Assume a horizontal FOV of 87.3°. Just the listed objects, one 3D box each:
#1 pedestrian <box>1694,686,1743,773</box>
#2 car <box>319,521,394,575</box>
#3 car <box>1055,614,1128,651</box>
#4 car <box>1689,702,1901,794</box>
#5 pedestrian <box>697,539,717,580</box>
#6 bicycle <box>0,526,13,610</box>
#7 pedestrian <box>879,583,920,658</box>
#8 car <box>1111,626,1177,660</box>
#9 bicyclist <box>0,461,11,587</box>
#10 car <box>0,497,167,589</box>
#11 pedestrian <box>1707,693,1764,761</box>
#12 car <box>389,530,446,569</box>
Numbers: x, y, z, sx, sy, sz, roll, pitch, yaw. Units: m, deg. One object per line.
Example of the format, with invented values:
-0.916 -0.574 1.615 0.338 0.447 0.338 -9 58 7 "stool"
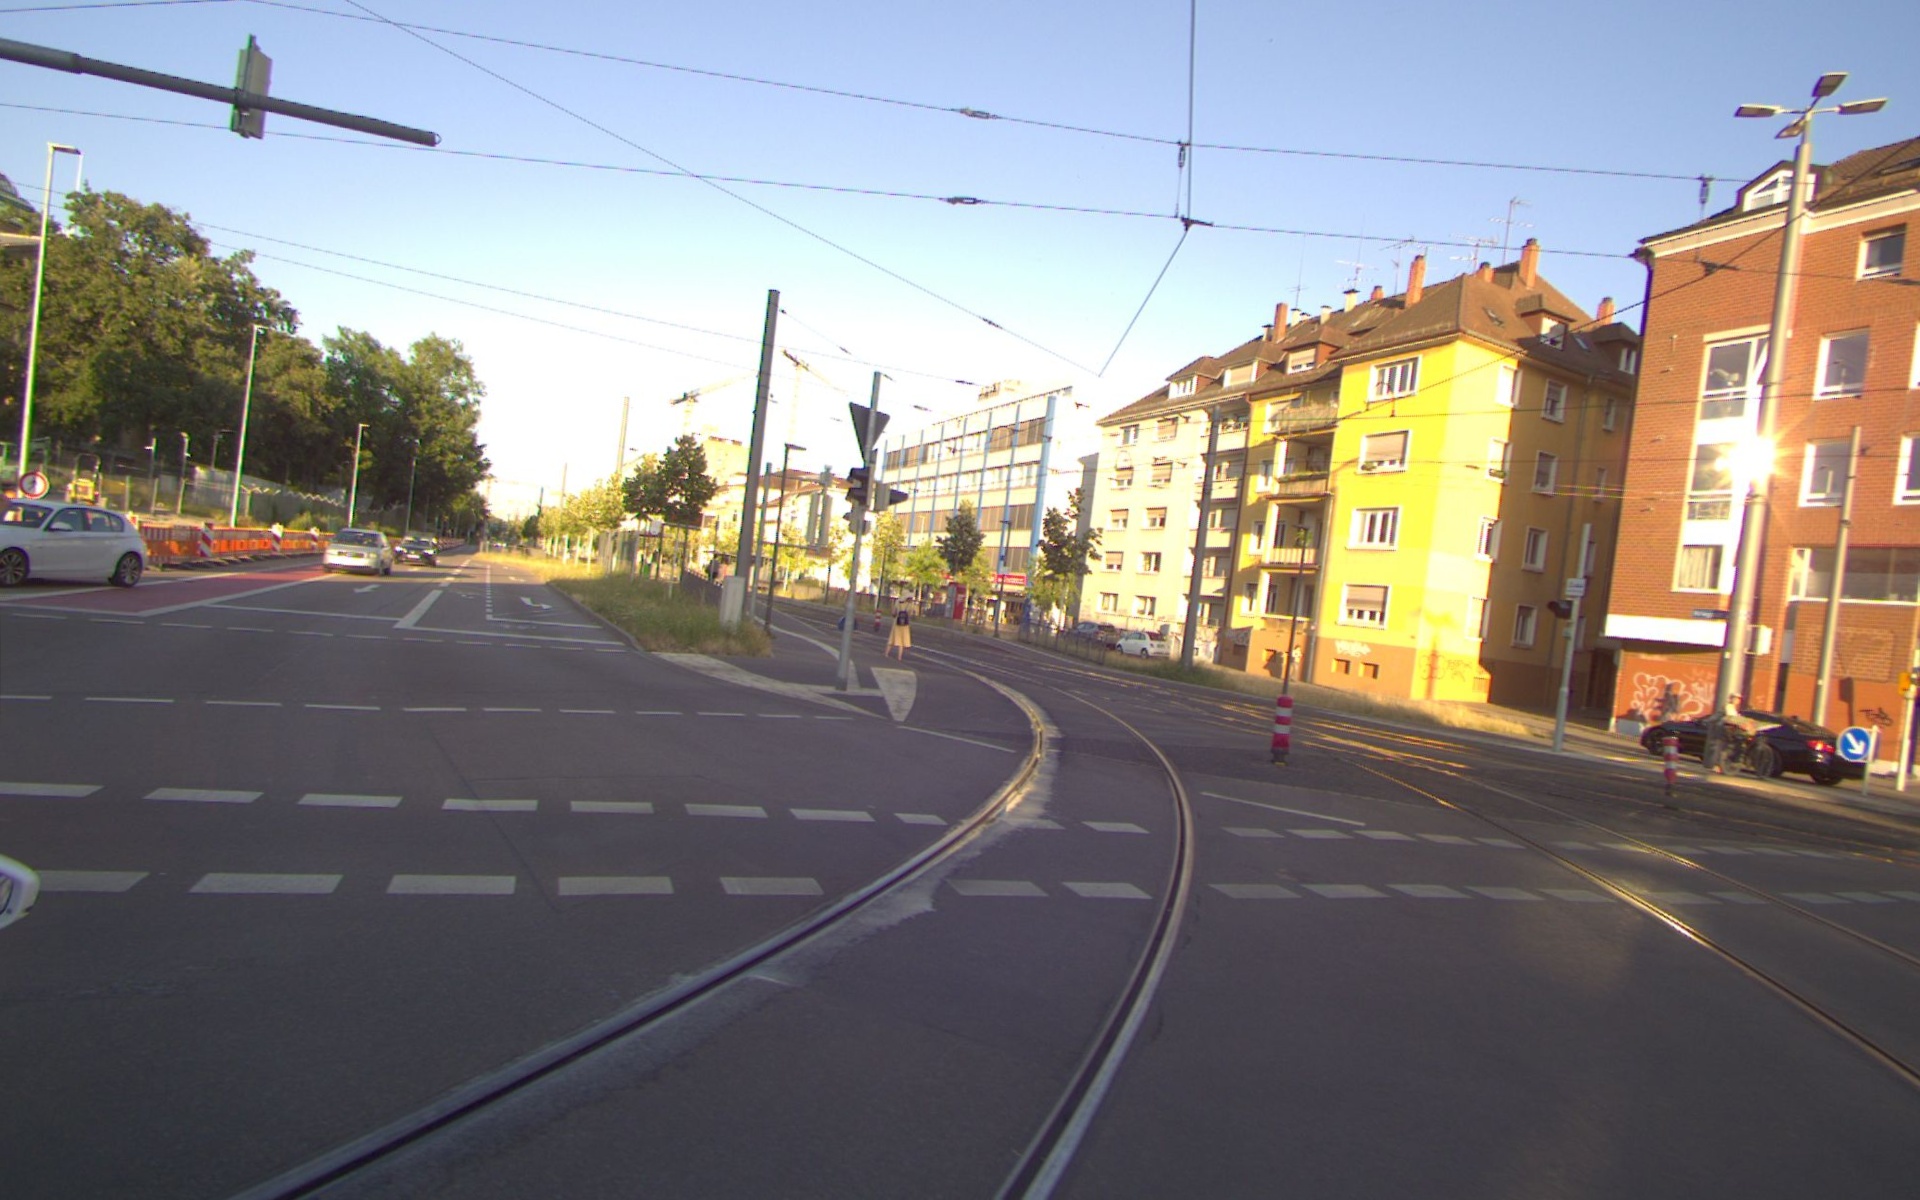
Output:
15.759 2.688 20.901 0.414 1.729 0.512 6 1 -25 "pedestrian"
-20.441 -1.720 34.219 1.658 1.581 3.706 4 0 -24 "car"
7.845 1.930 60.461 2.094 1.726 4.319 7 0 -27 "car"
19.587 3.407 23.893 1.812 1.513 4.296 7 -1 9 "car"
-10.343 -1.667 41.162 0.558 1.610 0.687 6 1 -22 "pedestrian"
-11.945 -0.381 12.018 0.591 1.036 1.829 6 1 -35 "bicycle"
-1.338 0.438 22.125 0.695 1.561 0.635 6 1 -9 "pedestrian"
10.171 2.362 55.896 1.719 1.438 3.518 7 0 -27 "car"
-11.948 -0.863 12.083 0.590 1.692 0.741 6 1 -35 "bicyclist"
-15.887 -0.993 17.005 1.883 1.423 4.297 6 0 -8 "car"
22.397 3.669 29.056 0.908 1.800 0.866 6 1 -31 "pedestrian"
-27.152 -2.511 50.487 1.918 1.637 4.368 6 0 -22 "car"
